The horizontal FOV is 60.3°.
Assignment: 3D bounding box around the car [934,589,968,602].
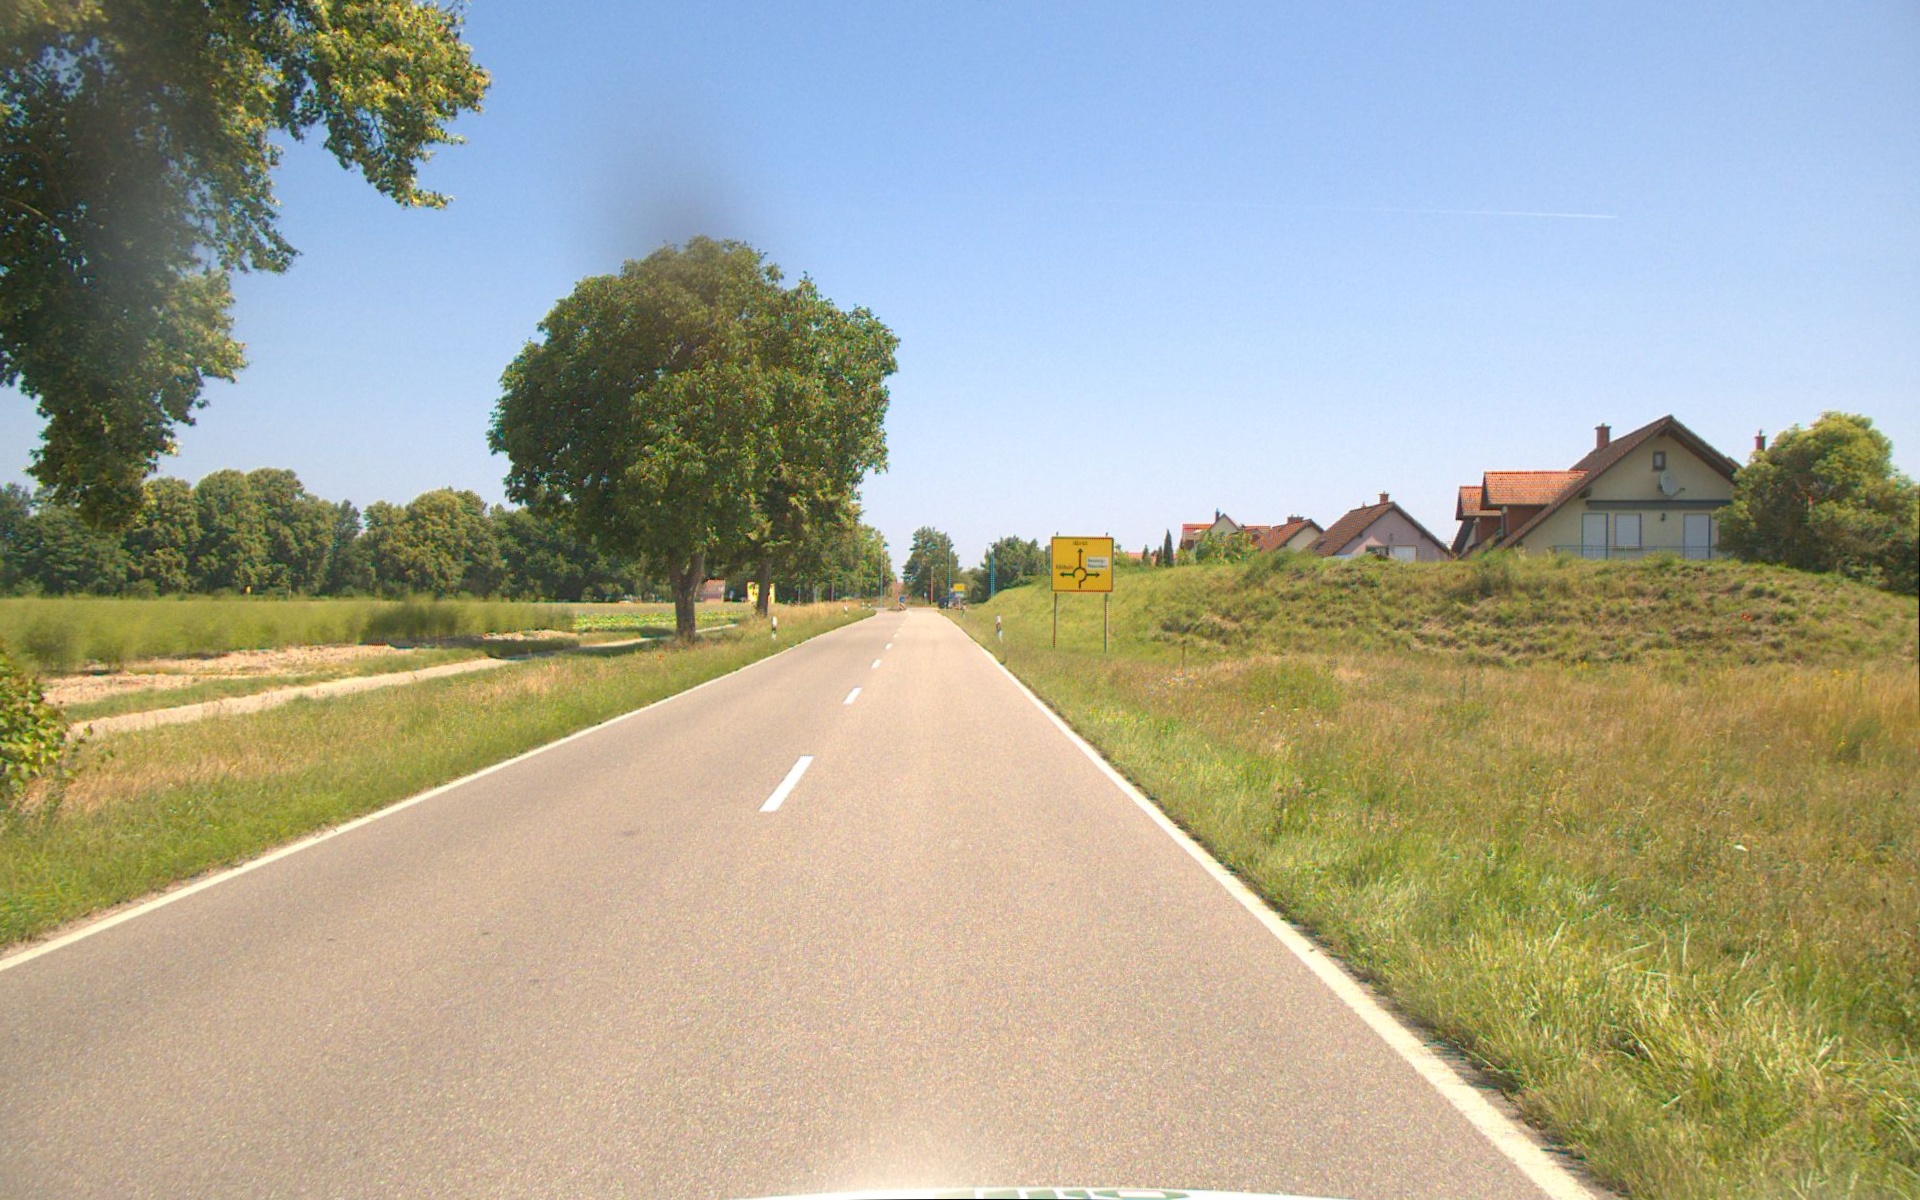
[{"bbox_3d":[-1.086,-0.542,195.904,3.560,1.563,1.826,0,0,-30],"label":"car"}]
